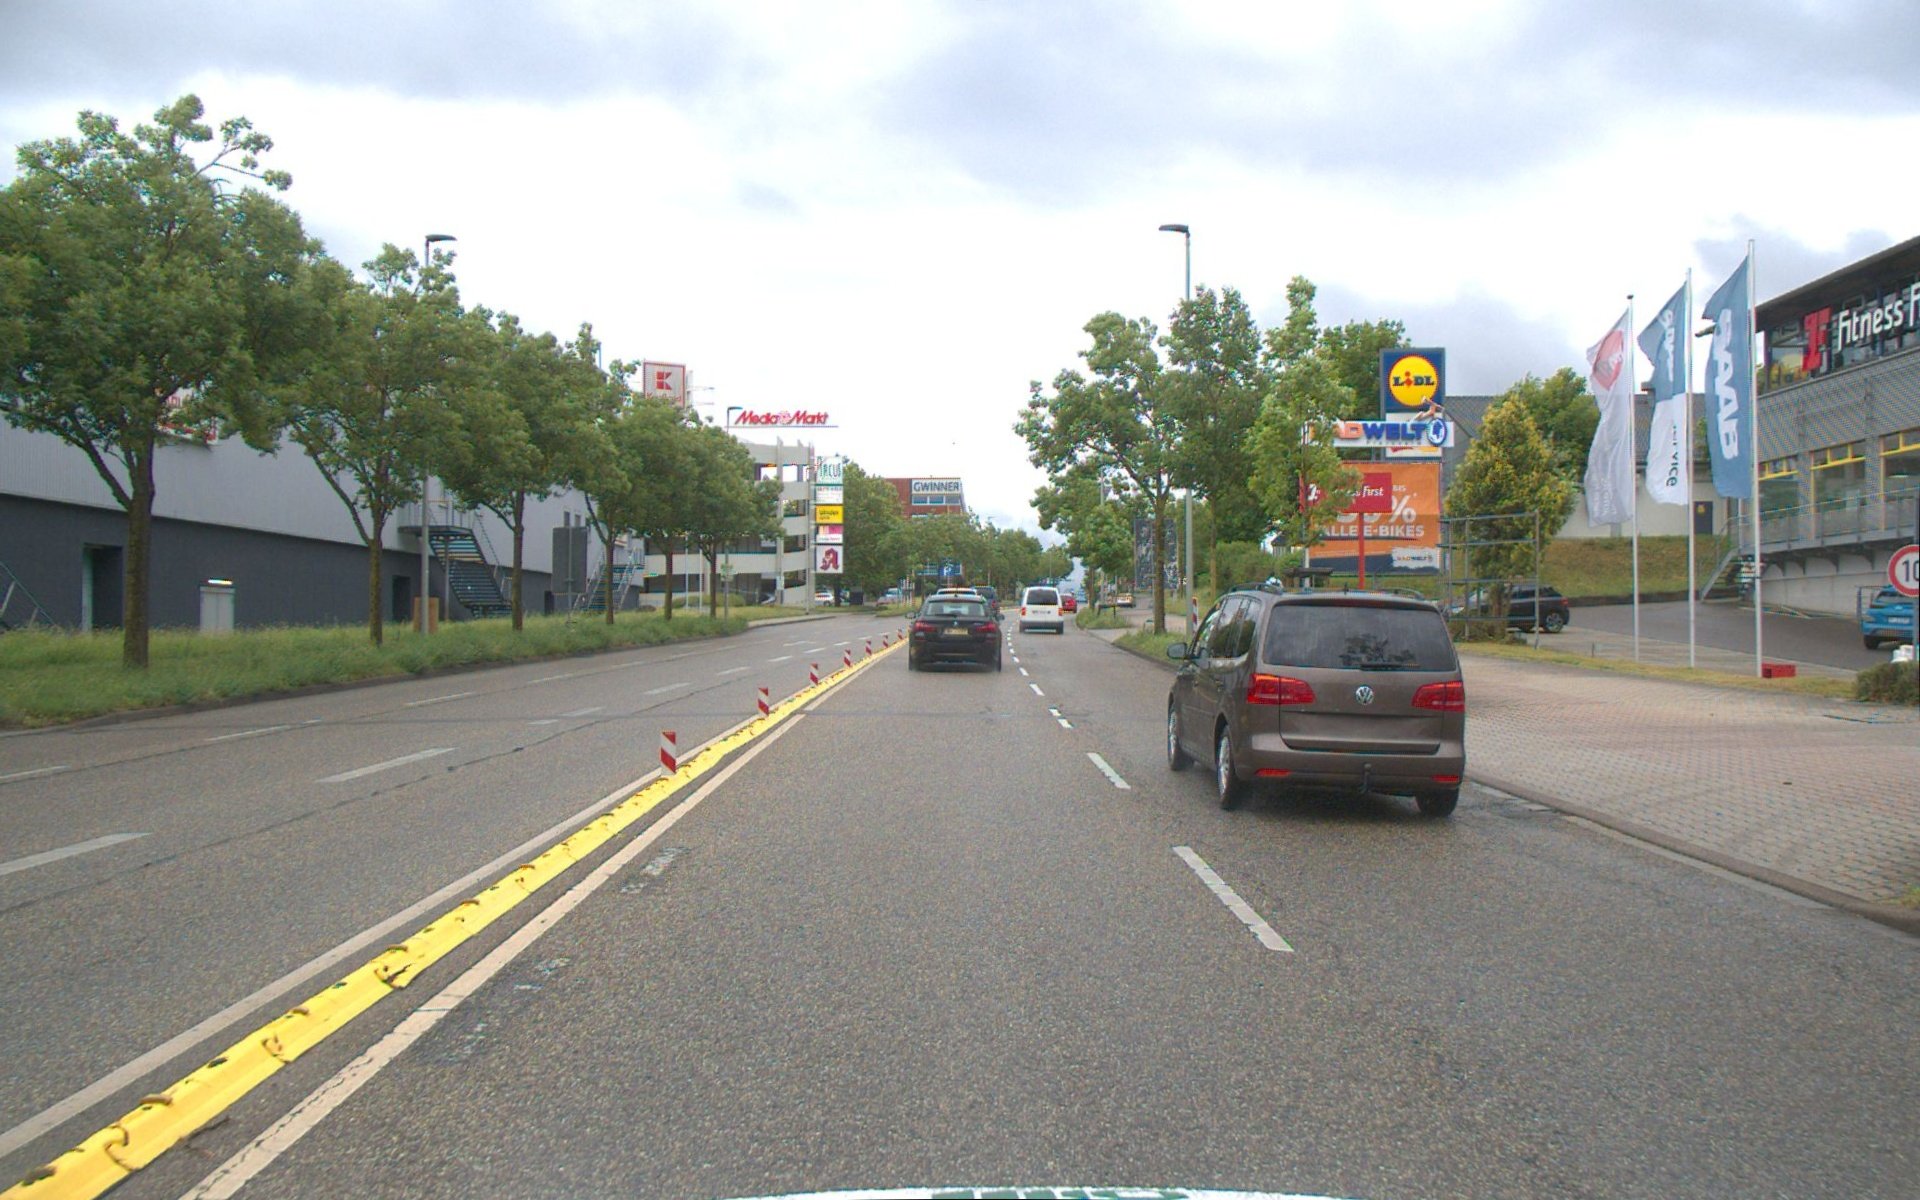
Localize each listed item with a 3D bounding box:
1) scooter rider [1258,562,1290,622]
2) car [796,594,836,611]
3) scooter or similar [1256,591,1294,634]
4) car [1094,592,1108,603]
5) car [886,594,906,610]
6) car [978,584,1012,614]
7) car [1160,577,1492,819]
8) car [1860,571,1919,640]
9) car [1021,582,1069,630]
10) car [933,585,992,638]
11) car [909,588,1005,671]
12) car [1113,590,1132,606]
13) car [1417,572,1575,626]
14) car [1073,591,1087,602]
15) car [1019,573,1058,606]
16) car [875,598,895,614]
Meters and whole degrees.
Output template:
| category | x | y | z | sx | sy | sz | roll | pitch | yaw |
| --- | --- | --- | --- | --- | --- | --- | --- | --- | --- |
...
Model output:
| category | x | y | z | sx | sy | sz | roll | pitch | yaw |
| --- | --- | --- | --- | --- | --- | --- | --- | --- | --- |
| scooter rider | 9.907 | -0.257 | 52.207 | 0.682 | 1.852 | 0.856 | -2 | 1 | -11 |
| car | -16.855 | 0.290 | 193.990 | 4.506 | 1.776 | 1.967 | 1 | 2 | -2 |
| scooter or similar | 9.929 | 0.384 | 52.213 | 0.682 | 1.285 | 1.397 | -2 | 1 | -10 |
| car | 20.267 | -0.308 | 238.207 | 1.757 | 1.537 | 4.001 | 2 | 0 | 2 |
| car | -7.810 | 0.246 | 203.106 | 1.996 | 1.792 | 4.949 | 1 | 2 | 3 |
| car | 1.903 | -0.061 | 89.992 | 1.757 | 1.537 | 4.001 | 2 | 0 | 2 |
| car | 2.726 | 0.658 | 13.253 | 1.651 | 1.609 | 4.218 | 1 | 0 | -1 |
| car | 24.124 | 0.108 | 41.305 | 3.878 | 1.586 | 1.713 | -2 | 3 | -42 |
| car | 3.370 | 0.205 | 65.902 | 1.789 | 1.789 | 4.001 | 2 | 1 | 2 |
| car | 0.110 | 0.359 | 52.082 | 1.757 | 1.537 | 4.000 | 2 | 0 | 1 |
| car | -0.057 | 0.535 | 33.114 | 1.789 | 1.494 | 4.000 | 1 | 1 | 0 |
| car | 16.710 | -0.221 | 170.347 | 1.757 | 1.537 | 4.001 | 2 | 0 | 3 |
| car | 15.521 | -0.046 | 47.973 | 4.019 | 1.463 | 1.792 | 0 | 2 | -13 |
| car | 16.547 | -0.460 | 228.263 | 1.757 | 1.537 | 4.001 | 2 | 0 | 2 |
| car | 3.835 | -0.495 | 81.285 | 1.757 | 1.537 | 4.001 | 2 | 0 | 2 |
| car | -8.563 | 0.708 | 188.685 | 1.893 | 1.636 | 4.713 | 1 | 2 | 2 |
